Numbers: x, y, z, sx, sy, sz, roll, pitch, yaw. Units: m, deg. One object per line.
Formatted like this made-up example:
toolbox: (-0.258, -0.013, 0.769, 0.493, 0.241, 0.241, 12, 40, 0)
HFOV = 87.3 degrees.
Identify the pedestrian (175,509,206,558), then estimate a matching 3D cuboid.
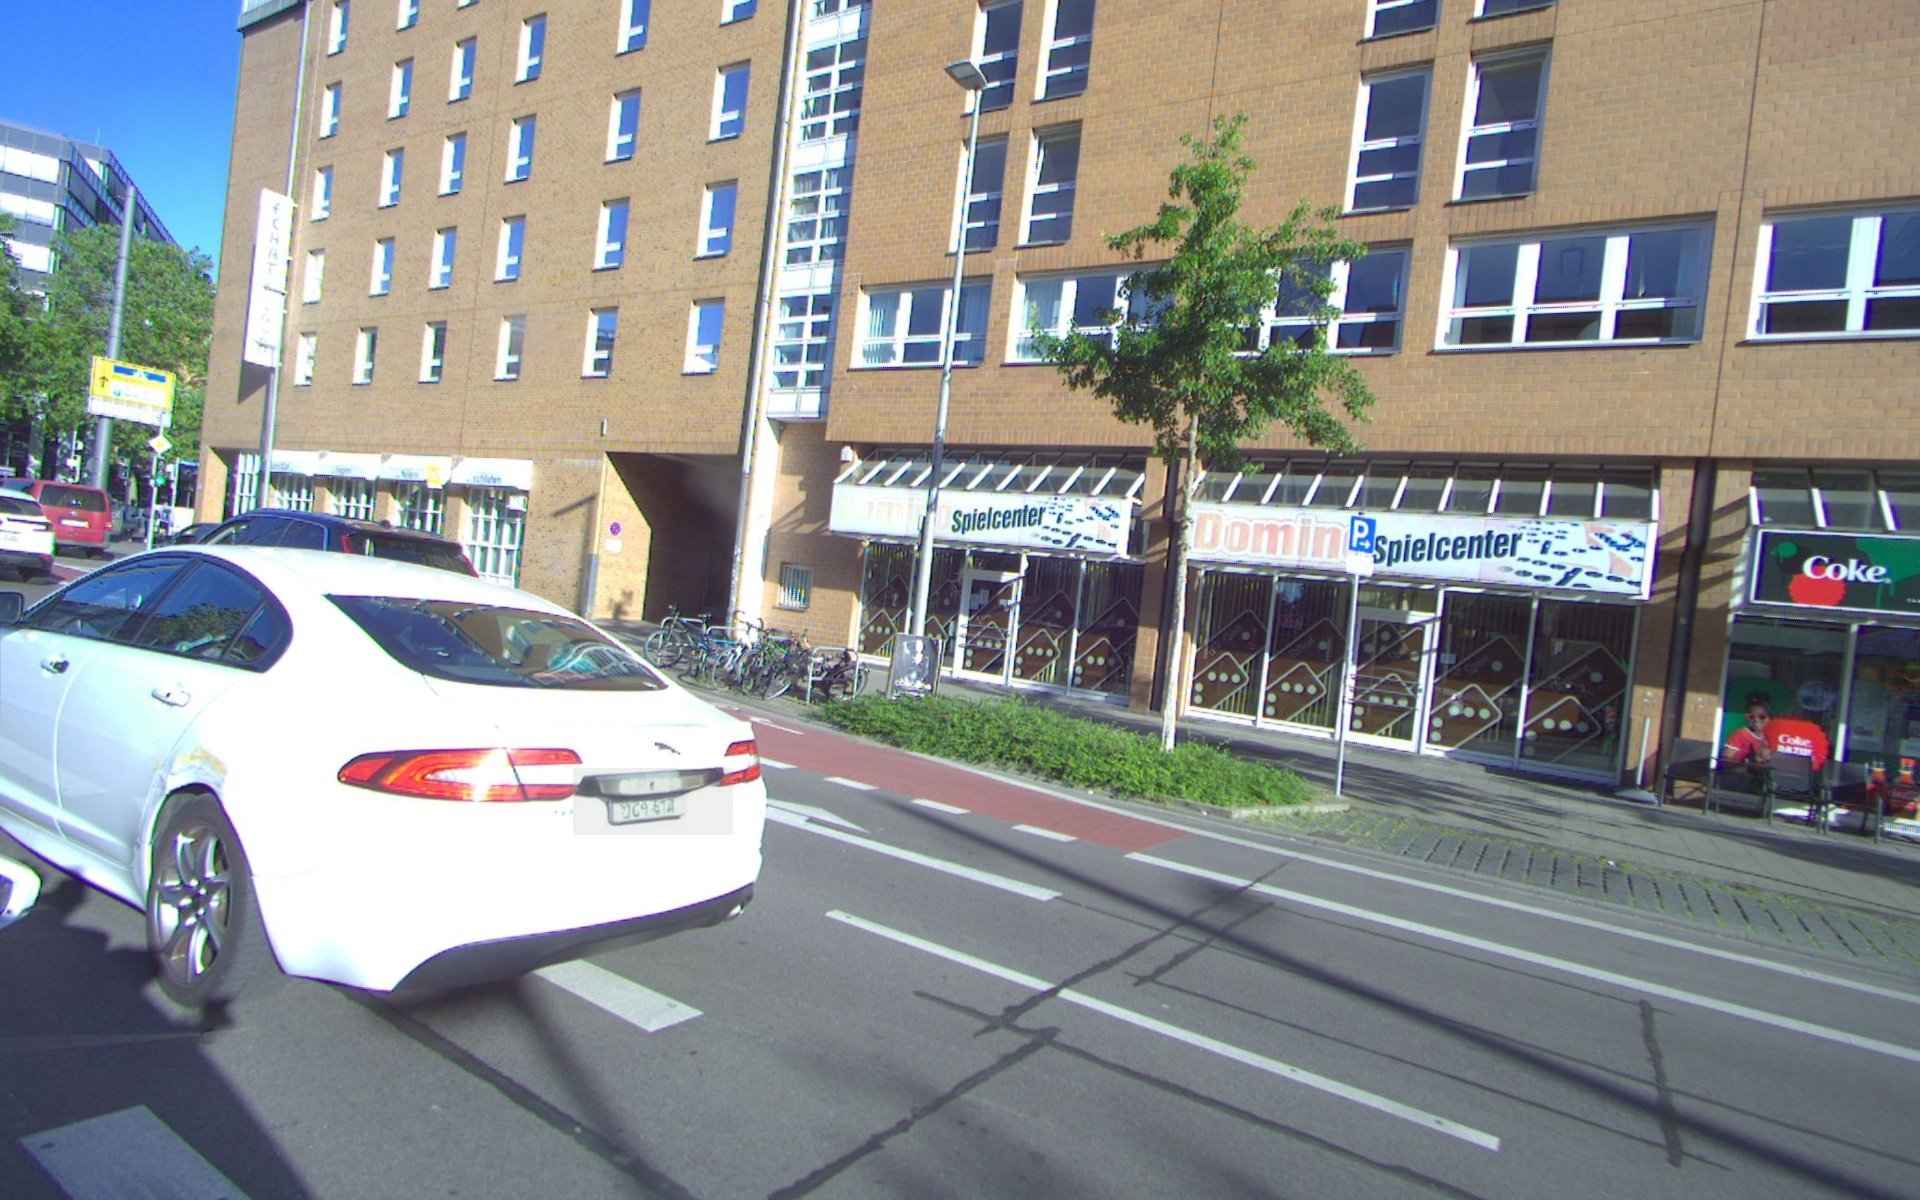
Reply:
pedestrian: (-30.577, -2.645, 39.963, 0.736, 1.844, 0.607, 6, 0, 31)

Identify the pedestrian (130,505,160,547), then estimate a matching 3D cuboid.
pedestrian: (-34.716, -3.140, 42.841, 0.511, 1.680, 0.685, 7, -1, 32)

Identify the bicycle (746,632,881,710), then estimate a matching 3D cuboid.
bicycle: (-2.127, 1.068, 14.799, 1.937, 1.035, 0.496, 6, 1, -41)

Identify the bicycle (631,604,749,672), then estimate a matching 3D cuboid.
bicycle: (-4.837, 0.696, 18.098, 0.617, 1.088, 1.940, 6, 0, 43)

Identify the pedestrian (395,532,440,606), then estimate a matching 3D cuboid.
pedestrian: (-14.210, -0.812, 26.360, 0.736, 1.844, 0.607, 6, 0, 31)

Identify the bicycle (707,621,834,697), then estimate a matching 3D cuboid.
bicycle: (-2.939, 0.947, 15.762, 0.547, 1.088, 1.941, 6, 0, 42)

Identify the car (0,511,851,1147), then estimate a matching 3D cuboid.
car: (-2.979, 0.512, 4.516, 4.739, 1.430, 1.784, 7, -2, 32)

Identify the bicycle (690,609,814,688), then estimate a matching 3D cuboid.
bicycle: (-3.305, 0.801, 16.122, 0.484, 1.151, 1.941, 6, 1, 42)

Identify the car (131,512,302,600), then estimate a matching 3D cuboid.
car: (-16.929, -1.009, 22.874, 3.933, 1.549, 1.669, 7, 0, 31)

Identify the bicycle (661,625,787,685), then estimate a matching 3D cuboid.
bicycle: (-3.947, 0.929, 16.914, 1.930, 0.846, 0.550, 6, 1, -32)

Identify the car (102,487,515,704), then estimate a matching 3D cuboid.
car: (-7.311, -0.091, 11.176, 4.556, 1.779, 1.979, 7, -2, 32)

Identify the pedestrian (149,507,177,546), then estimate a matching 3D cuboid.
pedestrian: (-36.701, -3.376, 46.339, 0.511, 1.680, 0.698, 7, -1, 32)

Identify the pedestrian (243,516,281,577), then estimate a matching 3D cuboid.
pedestrian: (-22.194, -1.702, 32.006, 0.736, 1.844, 0.607, 6, 0, 31)

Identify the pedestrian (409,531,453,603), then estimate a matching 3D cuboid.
pedestrian: (-14.321, -0.891, 27.227, 0.736, 1.844, 0.607, 6, 0, 31)

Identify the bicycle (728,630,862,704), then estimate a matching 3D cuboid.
bicycle: (-2.470, 1.029, 15.206, 1.937, 0.981, 0.548, 6, 1, -41)

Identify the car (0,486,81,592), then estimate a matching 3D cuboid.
car: (-17.671, -1.263, 17.835, 4.306, 1.659, 1.854, 7, -1, 32)

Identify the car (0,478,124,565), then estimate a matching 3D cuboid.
car: (-25.107, -2.188, 27.828, 3.935, 1.985, 1.862, 7, 0, 33)
